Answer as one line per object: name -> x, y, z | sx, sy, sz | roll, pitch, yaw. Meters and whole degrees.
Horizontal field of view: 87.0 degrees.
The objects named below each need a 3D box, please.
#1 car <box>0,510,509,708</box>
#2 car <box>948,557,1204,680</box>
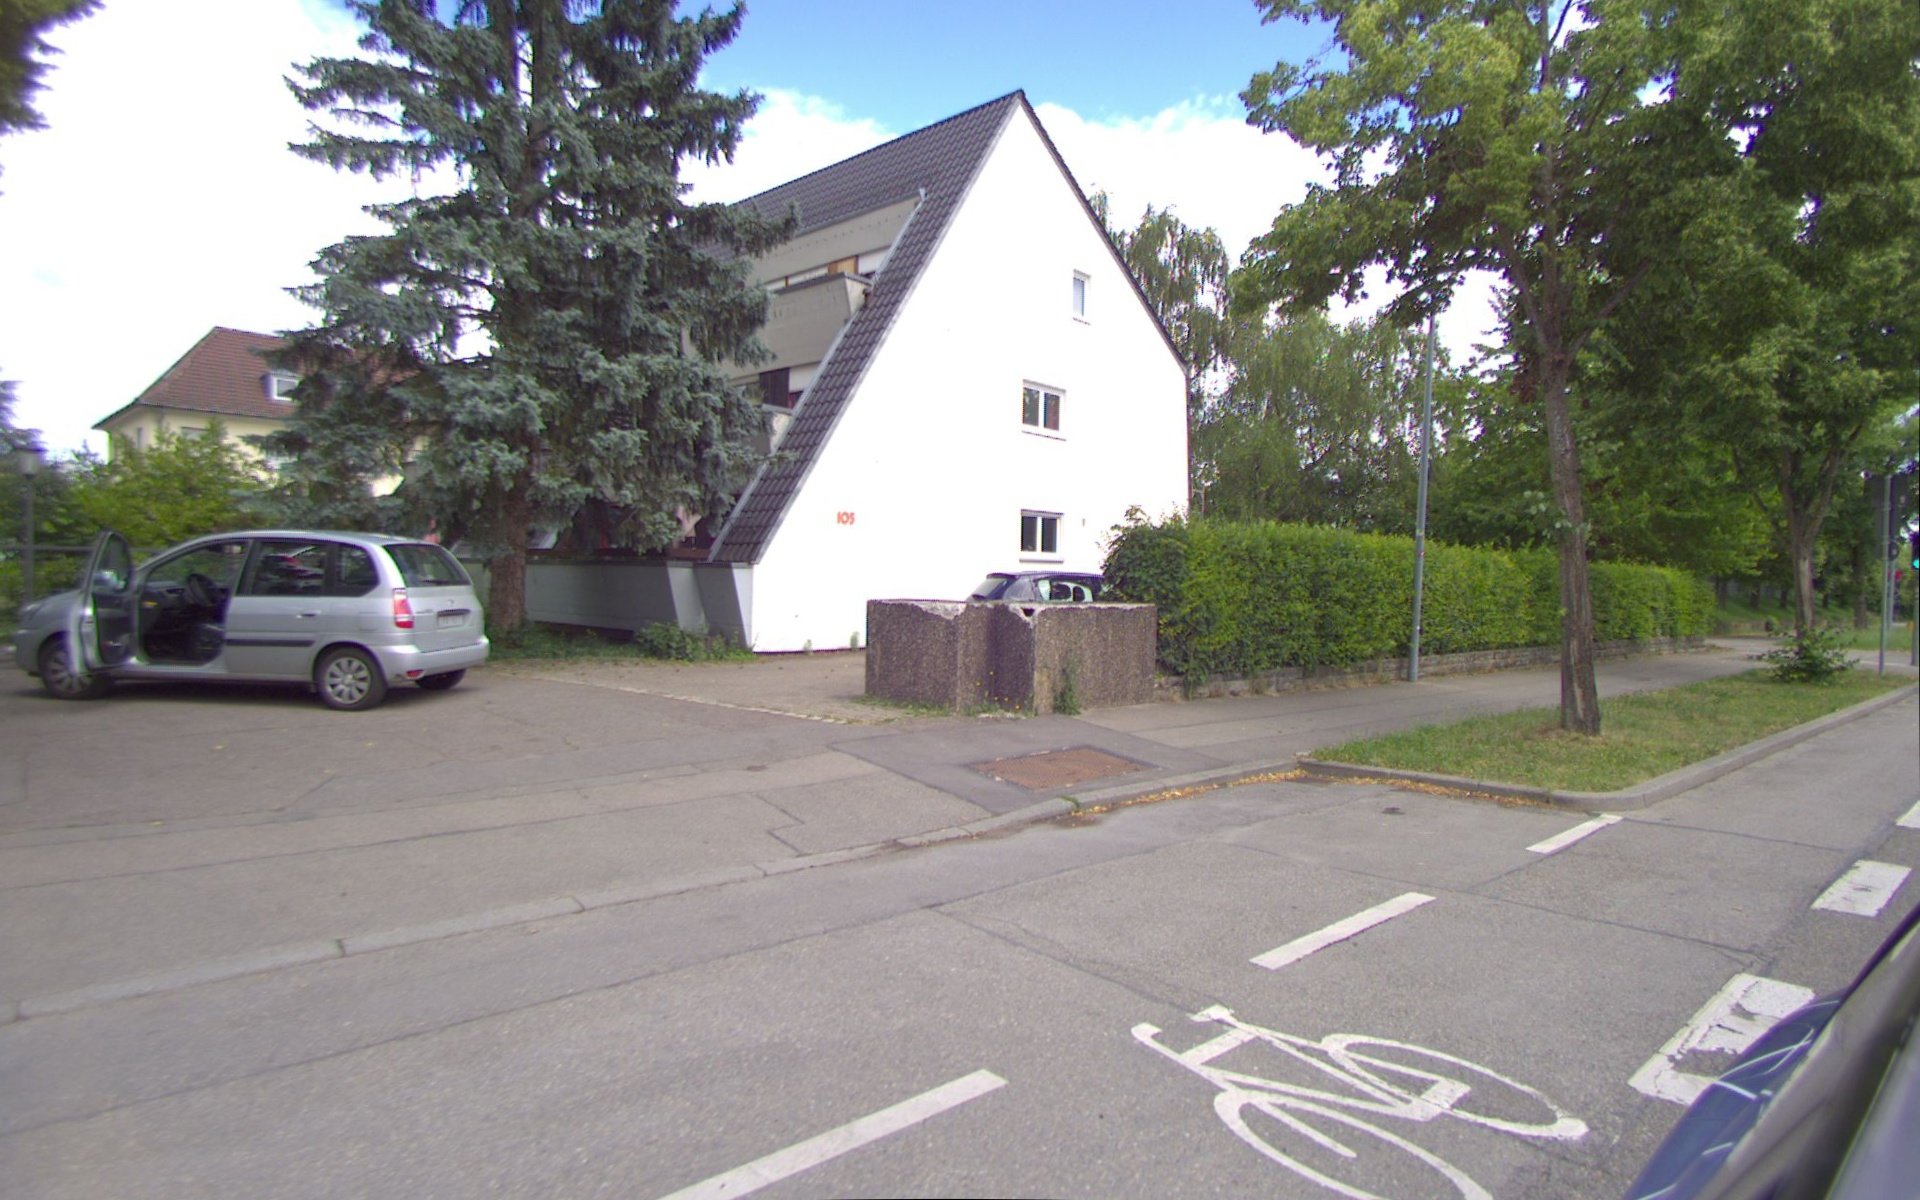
car -> -6.851, 0.050, 10.052 | 3.925, 1.681, 1.816 | 2, 1, 1
car -> 1.590, 0.240, 14.268 | 3.151, 1.587, 1.655 | 1, 1, -17
